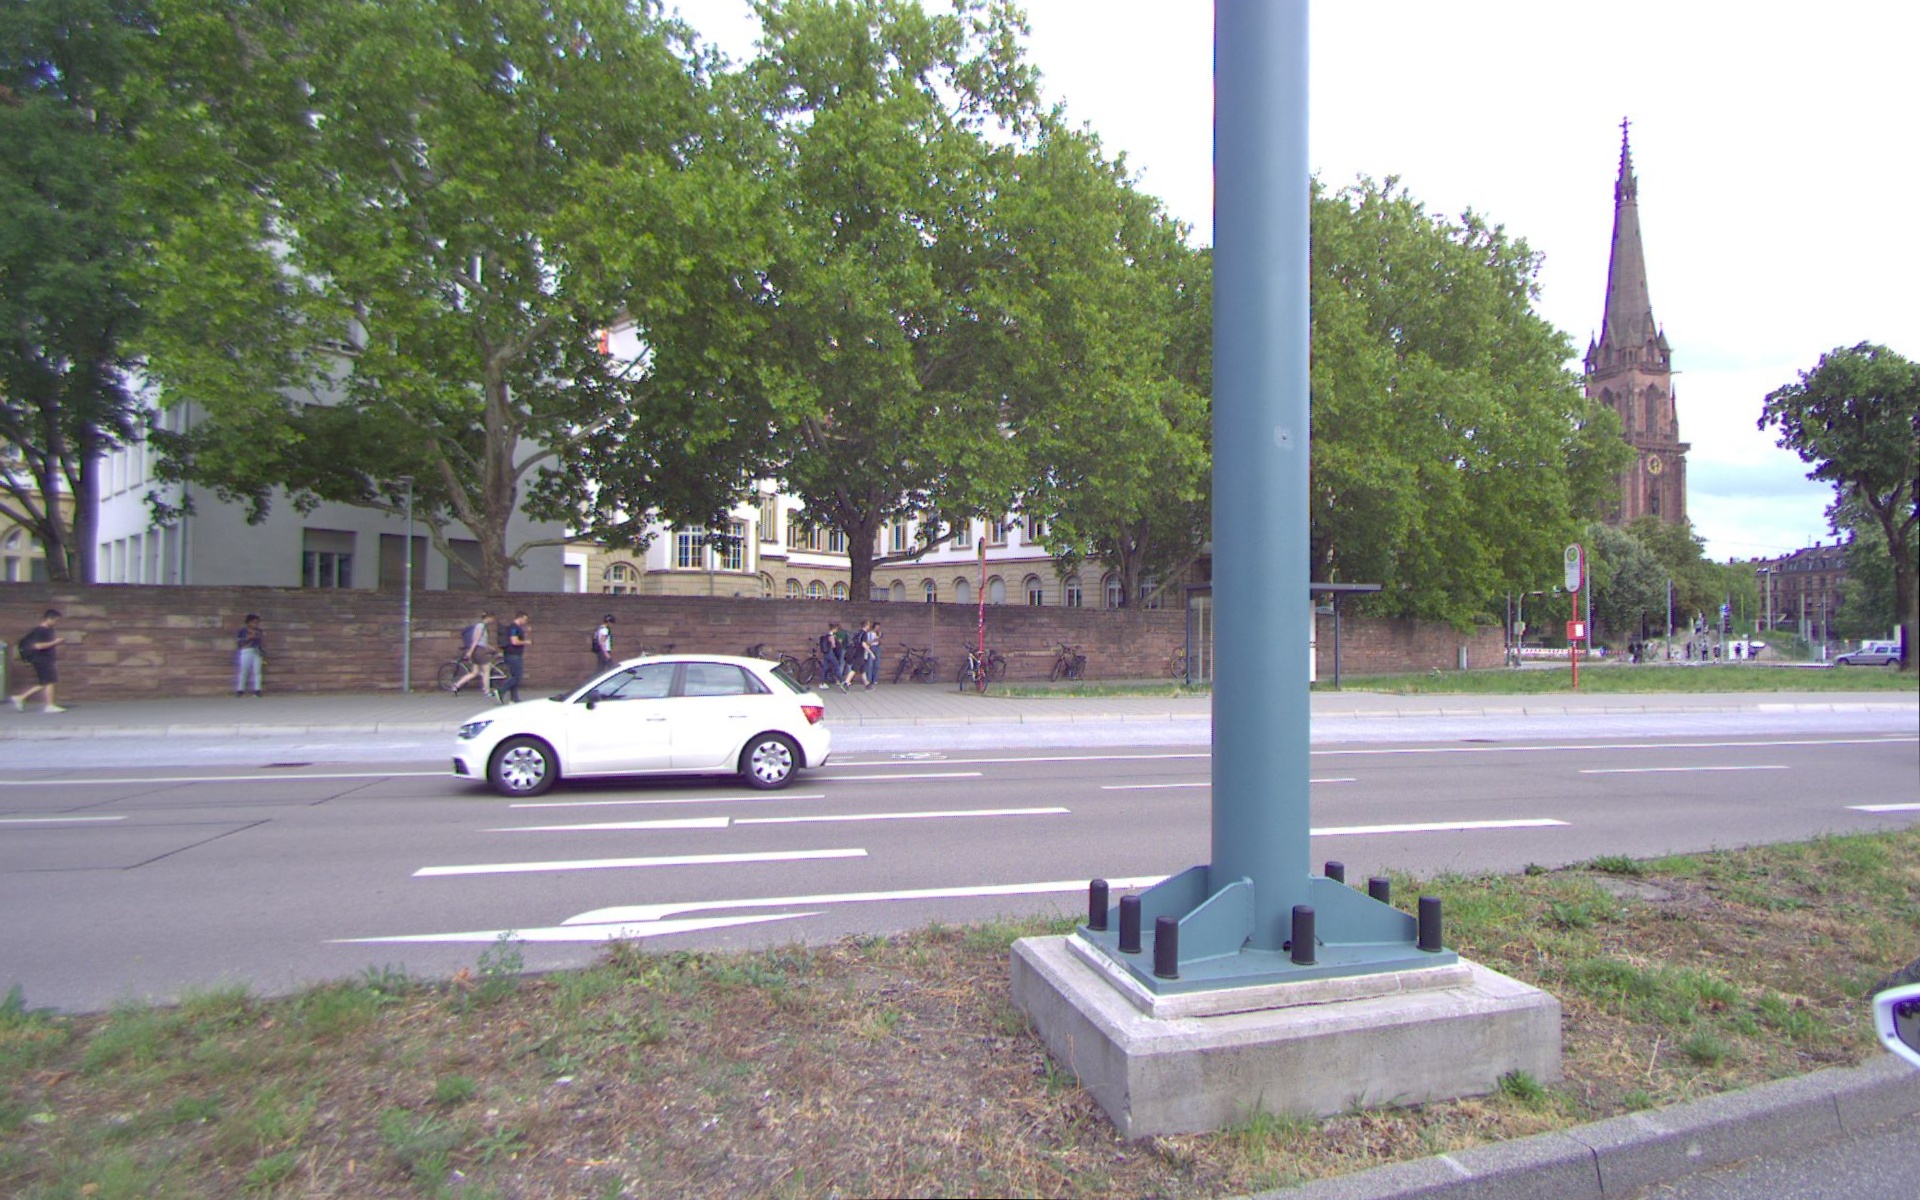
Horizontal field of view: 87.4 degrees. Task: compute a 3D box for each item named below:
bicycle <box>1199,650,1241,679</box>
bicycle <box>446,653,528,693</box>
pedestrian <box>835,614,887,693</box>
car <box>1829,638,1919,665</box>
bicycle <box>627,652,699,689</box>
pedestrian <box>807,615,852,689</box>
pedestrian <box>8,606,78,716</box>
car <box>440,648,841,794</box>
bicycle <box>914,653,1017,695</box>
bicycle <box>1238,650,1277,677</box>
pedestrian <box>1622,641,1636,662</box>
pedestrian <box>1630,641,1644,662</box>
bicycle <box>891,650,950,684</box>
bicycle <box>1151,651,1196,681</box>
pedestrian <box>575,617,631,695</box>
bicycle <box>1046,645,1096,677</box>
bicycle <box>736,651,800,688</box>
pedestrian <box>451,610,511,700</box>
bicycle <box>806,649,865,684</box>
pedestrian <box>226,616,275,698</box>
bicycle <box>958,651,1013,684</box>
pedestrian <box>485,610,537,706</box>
[{"bbox_3d":[9.032,2.226,34.837,1.605,0.919,0.477,2,0,-37],"label":"bicycle"},{"bbox_3d":[-10.525,1.623,22.360,1.601,0.838,0.439,2,0,-30],"label":"bicycle"},{"bbox_3d":[-2.316,1.252,23.491,0.917,1.806,0.752,3,-2,-41],"label":"pedestrian"},{"bbox_3d":[57.848,3.215,63.520,1.620,1.671,4.153,1,-2,-17],"label":"car"},{"bbox_3d":[-7.151,1.692,24.214,1.601,0.838,0.439,2,0,-30],"label":"bicycle"},{"bbox_3d":[-3.244,1.283,24.974,0.778,1.806,0.752,3,-2,-41],"label":"pedestrian"},{"bbox_3d":[-15.589,1.023,17.092,0.778,1.806,0.752,3,-2,-41],"label":"pedestrian"},{"bbox_3d":[-3.291,1.244,10.938,3.853,1.407,1.673,1,-3,-12],"label":"car"},{"bbox_3d":[0.121,1.683,22.809,2.294,0.931,0.471,1,-1,-5],"label":"bicycle"},{"bbox_3d":[10.664,2.269,35.971,1.605,0.919,0.477,2,0,-37],"label":"bicycle"},{"bbox_3d":[51.126,3.920,76.710,0.714,1.581,0.561,1,-2,-18],"label":"pedestrian"},{"bbox_3d":[50.975,3.904,75.660,0.714,1.581,0.561,1,-2,-18],"label":"pedestrian"},{"bbox_3d":[-1.081,1.841,27.706,1.603,0.890,0.438,2,0,-33],"label":"bicycle"},{"bbox_3d":[7.051,2.170,33.117,1.605,0.919,0.477,2,0,-37],"label":"bicycle"},{"bbox_3d":[-7.980,1.238,22.480,0.917,1.693,0.752,3,-2,-41],"label":"pedestrian"},{"bbox_3d":[3.391,1.848,30.686,1.605,0.919,0.477,2,0,-35],"label":"bicycle"},{"bbox_3d":[-4.852,1.747,25.443,1.537,0.890,0.414,2,0,-30],"label":"bicycle"},{"bbox_3d":[-9.953,1.133,20.881,0.907,1.806,0.752,3,-2,-41],"label":"pedestrian"},{"bbox_3d":[-3.263,1.736,26.408,1.504,0.890,0.345,2,0,-30],"label":"bicycle"},{"bbox_3d":[-14.234,1.137,20.161,0.728,1.613,0.582,3,-2,-35],"label":"pedestrian"},{"bbox_3d":[0.734,1.929,28.875,1.603,0.890,0.438,2,0,-33],"label":"bicycle"},{"bbox_3d":[-8.653,1.107,19.337,0.715,1.806,0.753,3,-2,-36],"label":"pedestrian"}]
